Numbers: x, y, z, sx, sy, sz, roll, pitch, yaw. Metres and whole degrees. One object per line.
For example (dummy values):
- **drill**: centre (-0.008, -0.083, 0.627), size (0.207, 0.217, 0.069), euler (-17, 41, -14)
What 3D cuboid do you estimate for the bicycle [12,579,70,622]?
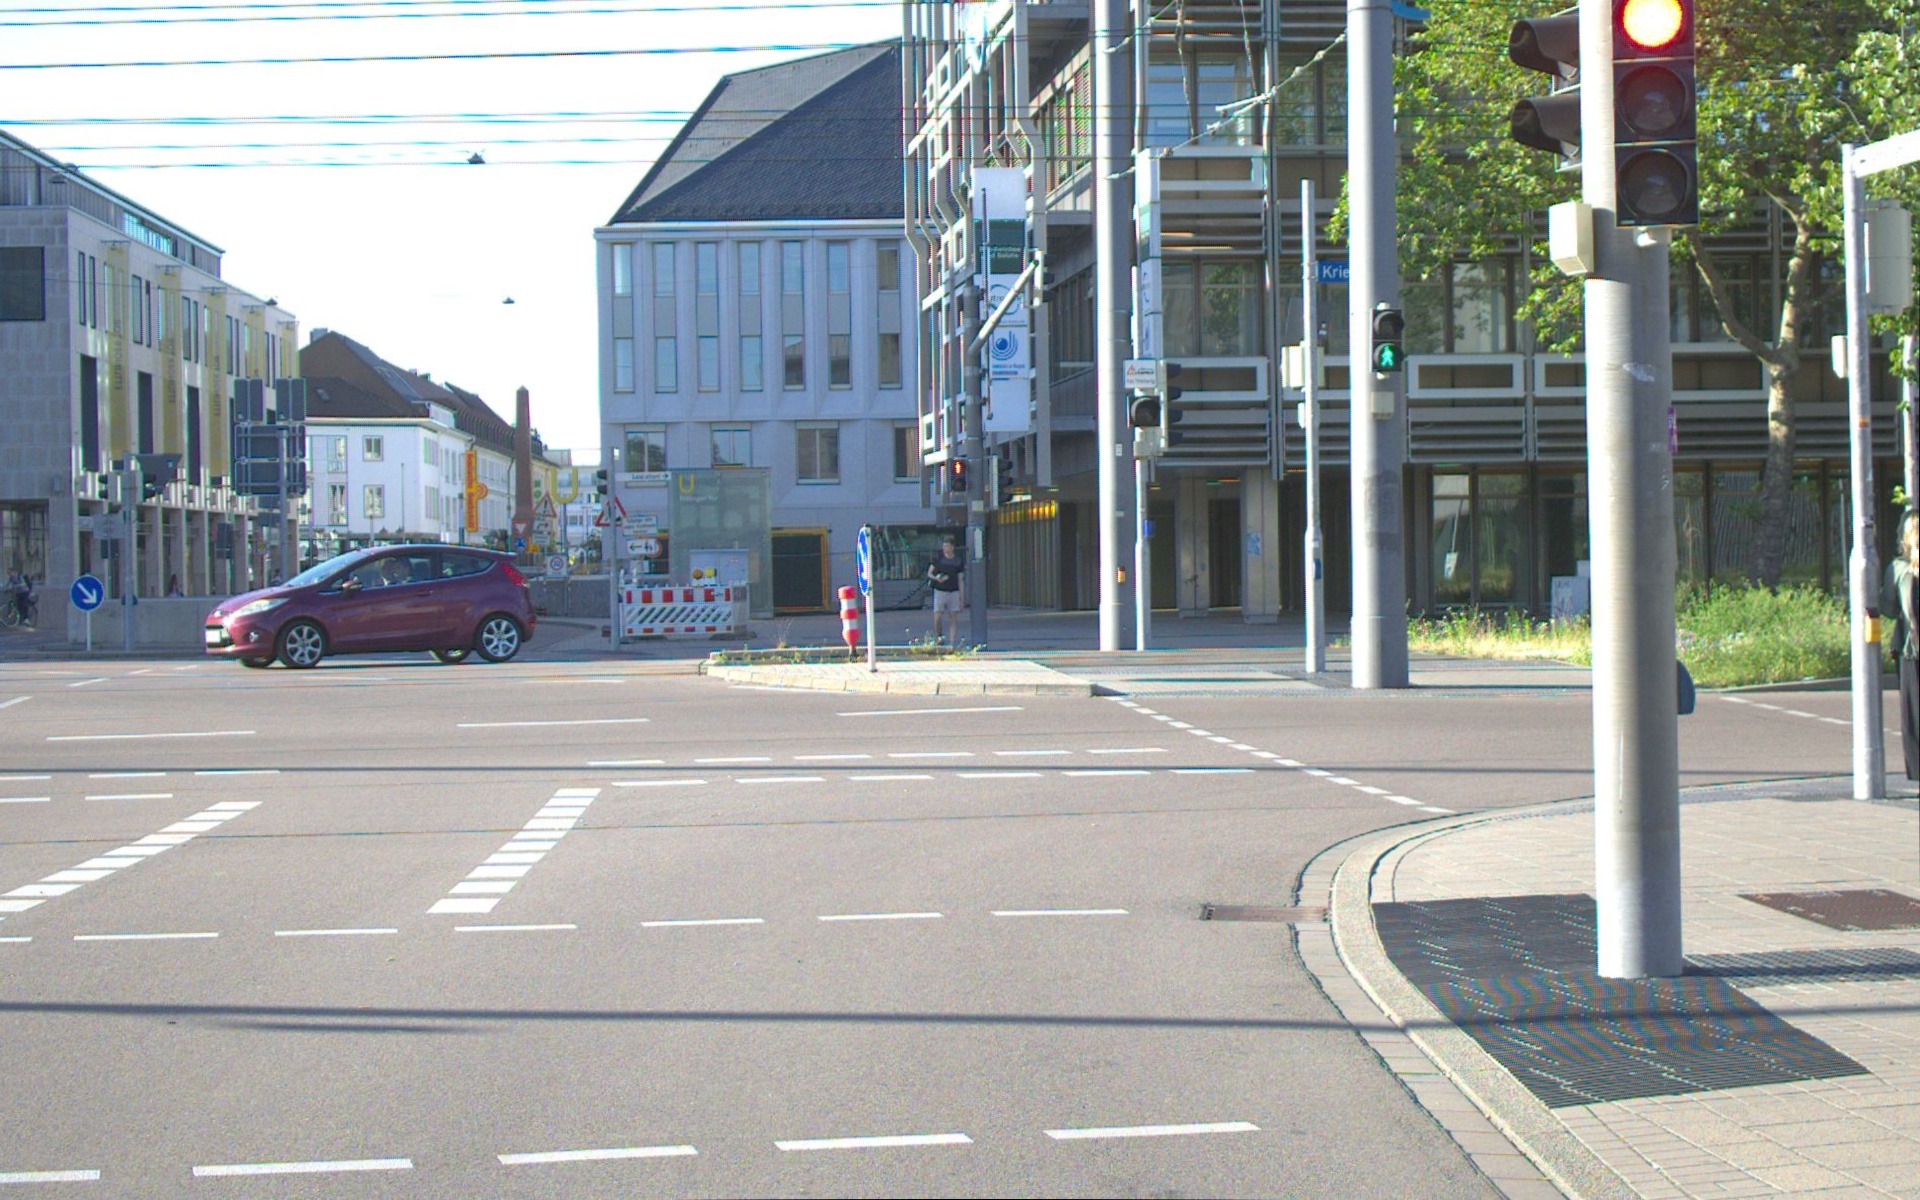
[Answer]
- **bicycle**: centre (-26.610, 0.015, 99.600), size (0.511, 1.202, 1.808), euler (1, 1, 29)

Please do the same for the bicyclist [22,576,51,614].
- **bicyclist**: centre (-26.713, -0.157, 99.429), size (0.511, 1.080, 0.624), euler (1, 1, 29)

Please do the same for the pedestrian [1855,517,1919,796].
- **pedestrian**: centre (5.355, 0.304, 18.686), size (0.788, 1.487, 0.644), euler (1, 0, -1)

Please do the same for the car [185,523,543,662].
- **car**: centre (-7.144, -0.115, 41.283), size (3.885, 1.579, 1.659), euler (-1, 1, -29)

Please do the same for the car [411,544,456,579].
- **car**: centre (-25.434, -1.864, 166.156), size (1.797, 1.652, 4.001), euler (1, 1, -4)

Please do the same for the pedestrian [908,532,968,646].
- **pedestrian**: centre (-0.369, -0.188, 57.401), size (0.788, 1.883, 0.644), euler (1, 0, -22)
